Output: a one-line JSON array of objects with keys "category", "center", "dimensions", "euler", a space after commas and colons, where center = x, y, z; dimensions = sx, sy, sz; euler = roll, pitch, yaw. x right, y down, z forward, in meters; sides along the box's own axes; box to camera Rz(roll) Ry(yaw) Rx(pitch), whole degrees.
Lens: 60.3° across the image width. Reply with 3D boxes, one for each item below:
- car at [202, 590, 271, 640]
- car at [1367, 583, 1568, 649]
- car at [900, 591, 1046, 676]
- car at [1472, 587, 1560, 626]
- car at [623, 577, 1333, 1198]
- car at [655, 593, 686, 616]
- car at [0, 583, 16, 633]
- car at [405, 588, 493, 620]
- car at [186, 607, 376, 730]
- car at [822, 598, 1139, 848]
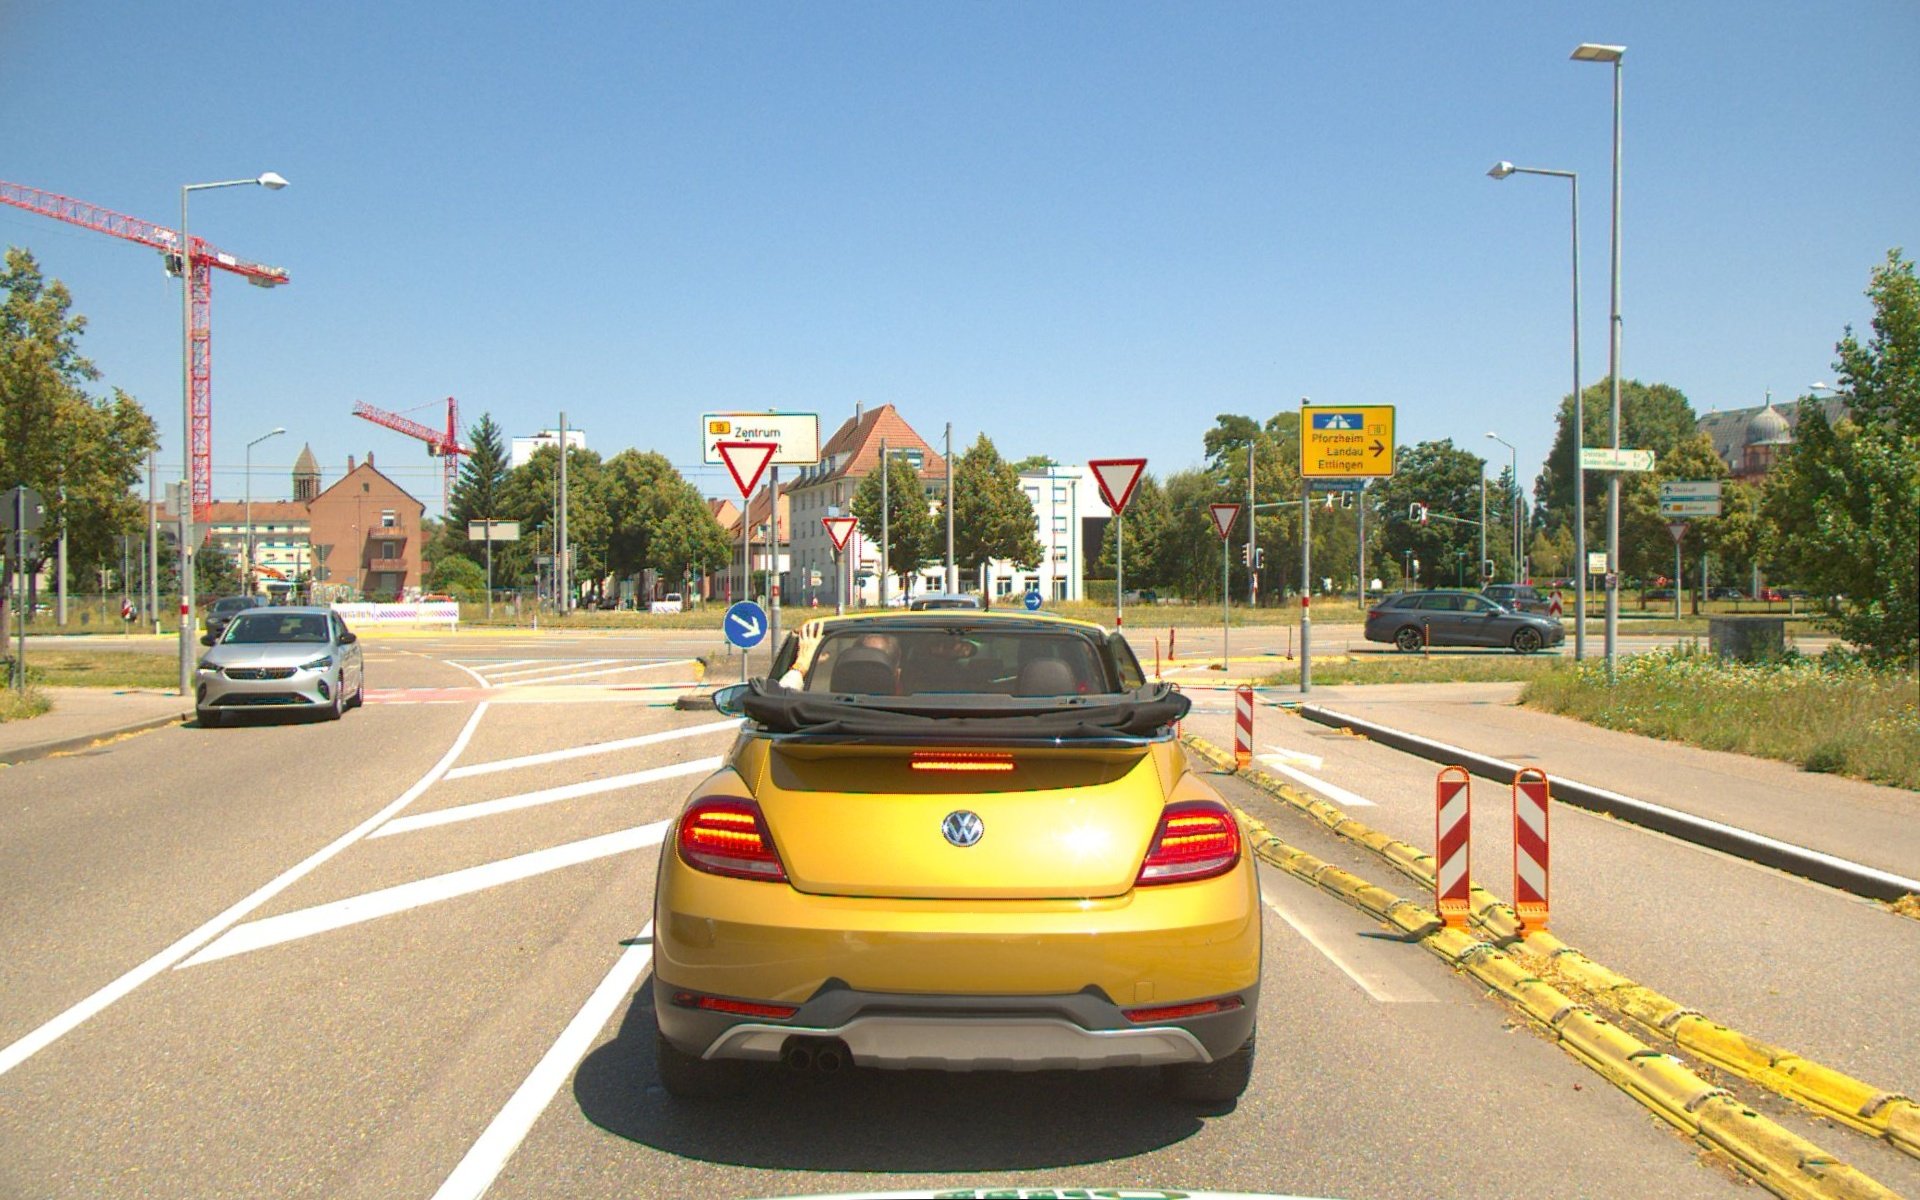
[{"category": "car", "center": [-26.125, 0.518, 59.823], "dimensions": [1.721, 1.736, 3.982], "euler": [1, 0, -16]}, {"category": "car", "center": [11.961, 0.368, 39.240], "dimensions": [4.431, 1.507, 2.073], "euler": [-1, 0, 15]}, {"category": "car", "center": [0.321, 0.574, 30.118], "dimensions": [2.021, 1.406, 4.261], "euler": [1, 0, 9]}, {"category": "car", "center": [18.739, 0.223, 55.691], "dimensions": [3.190, 1.281, 1.417], "euler": [1, 0, -42]}, {"category": "car", "center": [0.020, 0.721, 6.209], "dimensions": [1.729, 1.507, 4.257], "euler": [1, 0, -1]}, {"category": "car", "center": [-26.746, 0.419, 152.648], "dimensions": [1.958, 2.107, 5.297], "euler": [1, 0, -20]}, {"category": "car", "center": [-48.978, 0.348, 80.109], "dimensions": [5.212, 2.439, 1.990], "euler": [1, 0, -9]}, {"category": "car", "center": [-28.187, 0.242, 91.333], "dimensions": [1.868, 1.683, 4.318], "euler": [1, 0, 43]}, {"category": "car", "center": [-9.031, 0.836, 22.320], "dimensions": [1.698, 1.427, 4.256], "euler": [-2, 0, -14]}, {"category": "car", "center": [0.088, 0.706, 11.657], "dimensions": [1.814, 1.389, 4.257], "euler": [-1, 0, -1]}]
